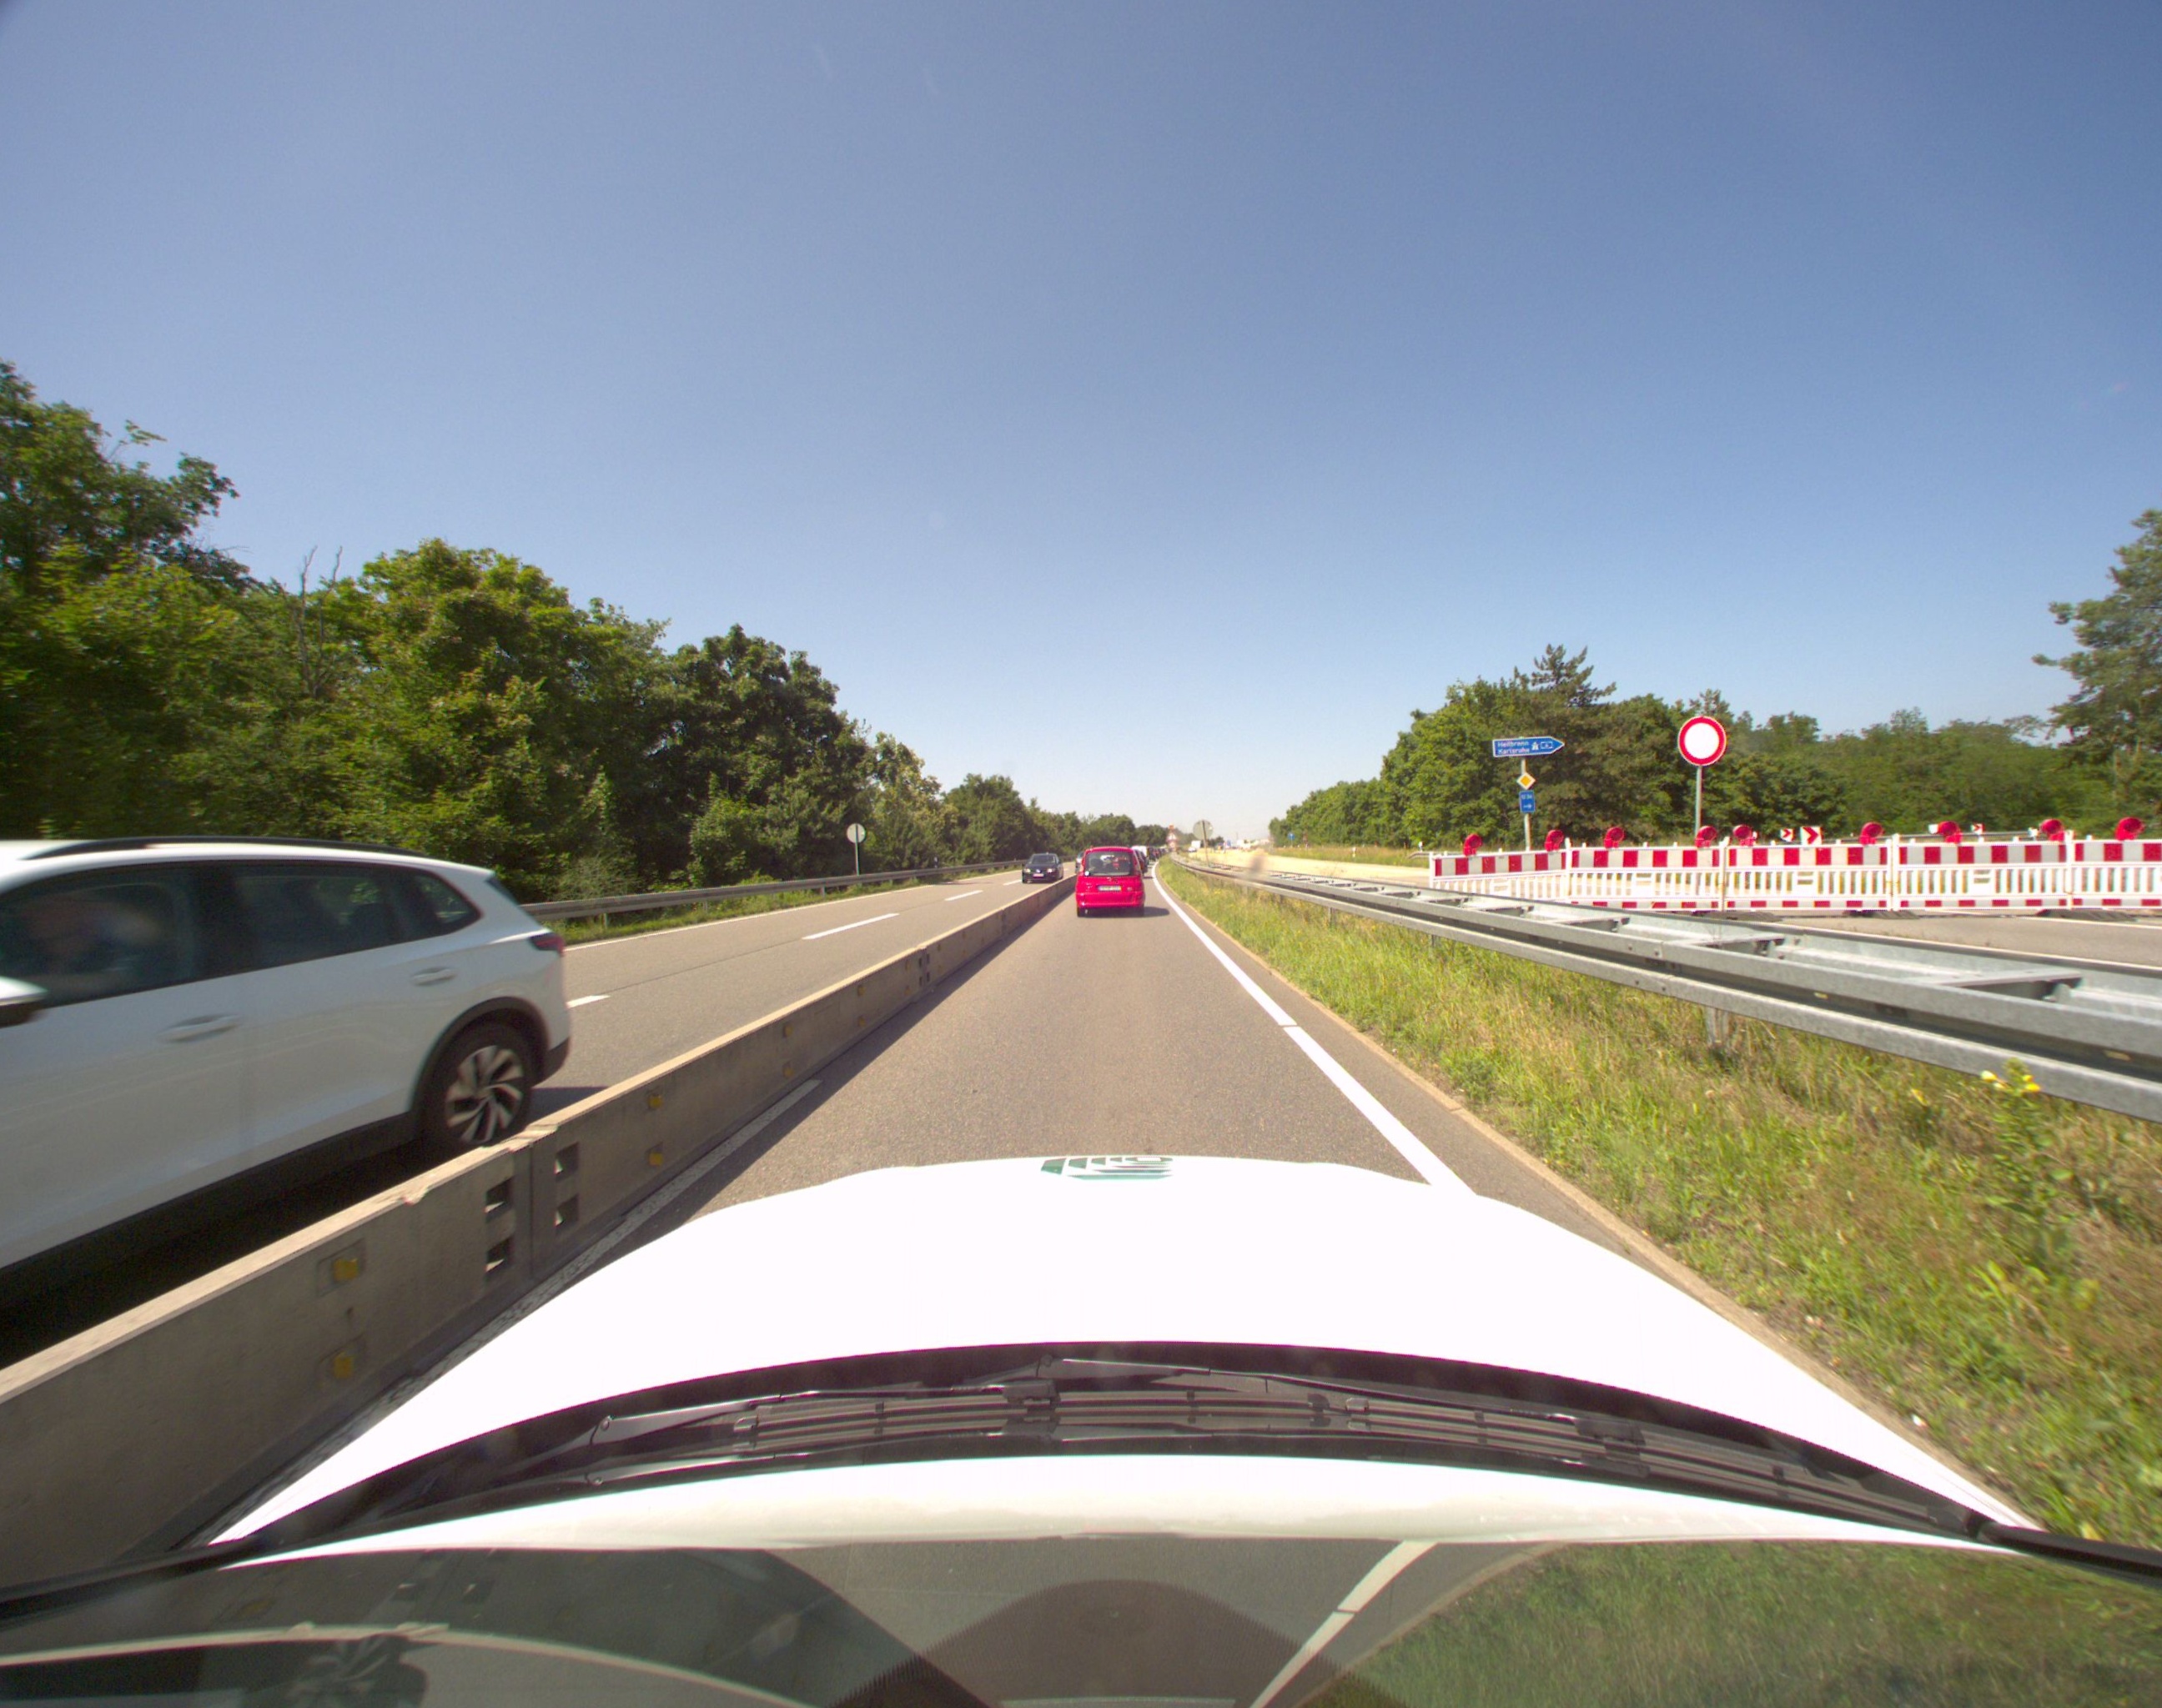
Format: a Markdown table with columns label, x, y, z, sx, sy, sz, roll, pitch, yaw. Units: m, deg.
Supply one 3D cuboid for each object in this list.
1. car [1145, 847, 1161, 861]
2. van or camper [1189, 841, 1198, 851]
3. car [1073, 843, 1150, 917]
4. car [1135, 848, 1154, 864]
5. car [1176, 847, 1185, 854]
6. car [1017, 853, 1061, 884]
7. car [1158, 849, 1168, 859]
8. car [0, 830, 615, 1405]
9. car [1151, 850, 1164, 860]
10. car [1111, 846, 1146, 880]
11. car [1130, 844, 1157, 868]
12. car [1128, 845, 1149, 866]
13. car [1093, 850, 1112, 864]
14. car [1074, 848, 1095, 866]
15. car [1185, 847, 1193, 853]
| label | x | y | z | sx | sy | sz | roll | pitch | yaw |
| --- | --- | --- | --- | --- | --- | --- | --- | --- | --- |
| car | 10.033 | 0.020 | 113.547 | 1.986 | 1.783 | 4.003 | -2 | 0 | 2 |
| van or camper | 32.246 | -2.281 | 233.698 | 2.317 | 2.706 | 4.600 | -2 | 0 | 5 |
| car | 0.802 | 0.606 | 20.781 | 1.745 | 1.673 | 4.003 | -1 | 0 | 2 |
| car | 7.624 | 0.219 | 98.349 | 1.986 | 1.750 | 4.002 | -2 | 0 | 2 |
| car | 23.064 | -0.866 | 187.893 | 1.983 | 1.552 | 4.008 | -2 | 0 | 7 |
| car | -2.074 | 0.680 | 41.029 | 1.808 | 1.424 | 4.111 | -2 | 0 | 2 |
| car | 14.019 | 0.006 | 138.951 | 1.493 | 1.736 | 3.177 | -1 | 0 | 7 |
| car | -3.914 | 0.747 | 2.919 | 1.841 | 1.601 | 4.324 | -1 | 0 | 2 |
| car | 12.008 | 0.156 | 128.220 | 1.984 | 1.585 | 4.005 | -1 | 0 | 5 |
| car | 2.613 | 0.470 | 45.173 | 1.823 | 1.722 | 4.002 | -2 | 0 | 2 |
| car | 5.199 | 0.159 | 68.504 | 1.986 | 1.838 | 4.001 | -2 | 0 | 1 |
| car | 5.765 | 0.147 | 81.161 | 1.984 | 2.003 | 4.005 | -2 | 0 | 4 |
| car | 2.491 | 0.371 | 93.521 | 1.940 | 1.538 | 4.440 | -2 | 0 | 4 |
| car | 0.378 | 0.266 | 72.812 | 1.718 | 1.496 | 4.390 | -2 | 0 | 2 |
| car | 29.444 | -1.048 | 221.646 | 1.983 | 1.486 | 4.007 | -2 | 0 | 6 |
